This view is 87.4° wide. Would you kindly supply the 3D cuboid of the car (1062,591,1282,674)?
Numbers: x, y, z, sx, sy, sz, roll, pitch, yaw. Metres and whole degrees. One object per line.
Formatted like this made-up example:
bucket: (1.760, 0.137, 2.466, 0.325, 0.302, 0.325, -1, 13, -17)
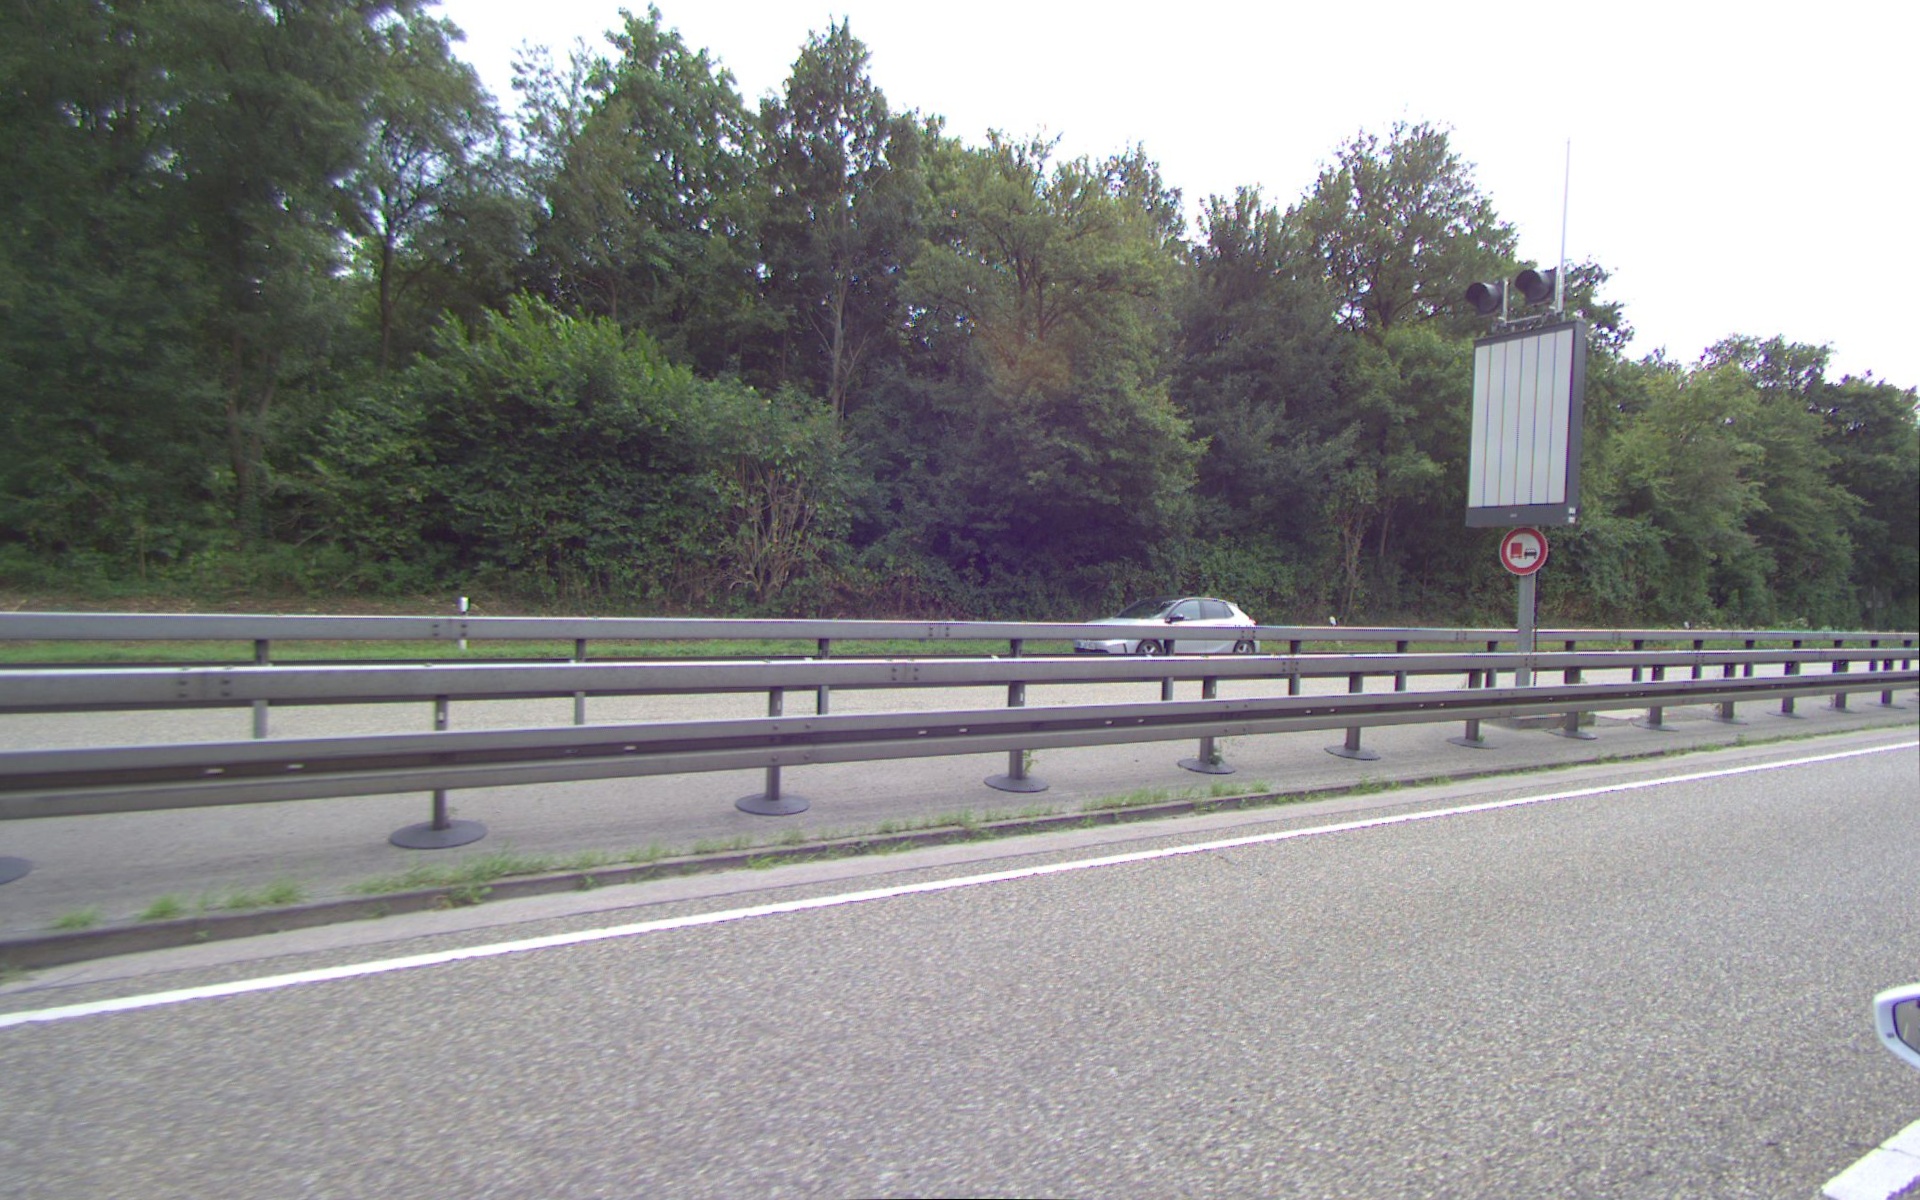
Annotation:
car: (4.251, 0.628, 20.005, 4.086, 1.501, 1.982, 1, -1, -32)
